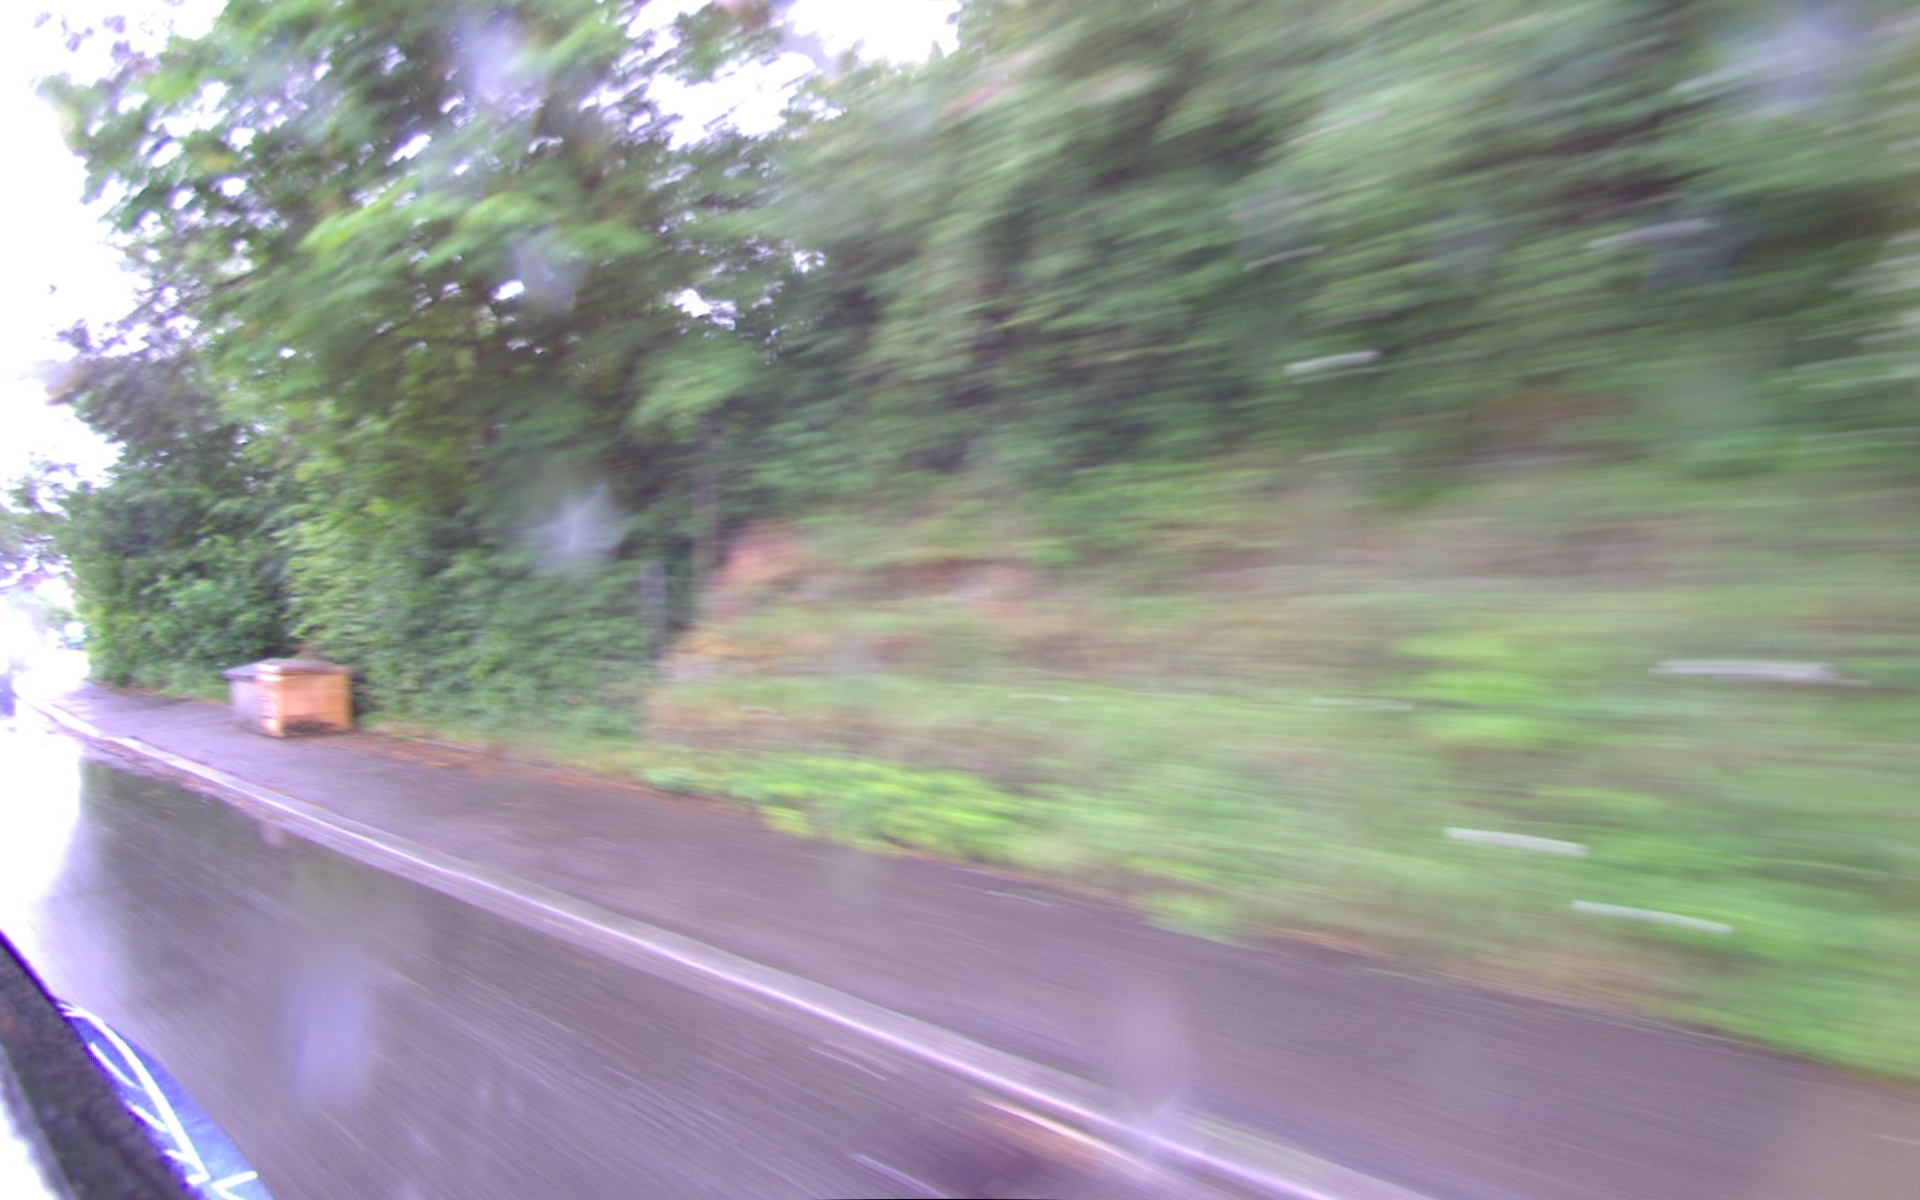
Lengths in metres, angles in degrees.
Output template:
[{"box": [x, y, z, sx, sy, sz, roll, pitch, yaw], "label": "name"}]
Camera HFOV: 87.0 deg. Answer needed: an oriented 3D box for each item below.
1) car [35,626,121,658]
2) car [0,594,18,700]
[{"box": [-46.180, 2.179, 53.074, 1.770, 1.480, 4.228, -2, 0, -16], "label": "car"}, {"box": [-20.399, 0.951, 20.235, 5.175, 1.989, 2.087, -2, -1, 45], "label": "car"}]
